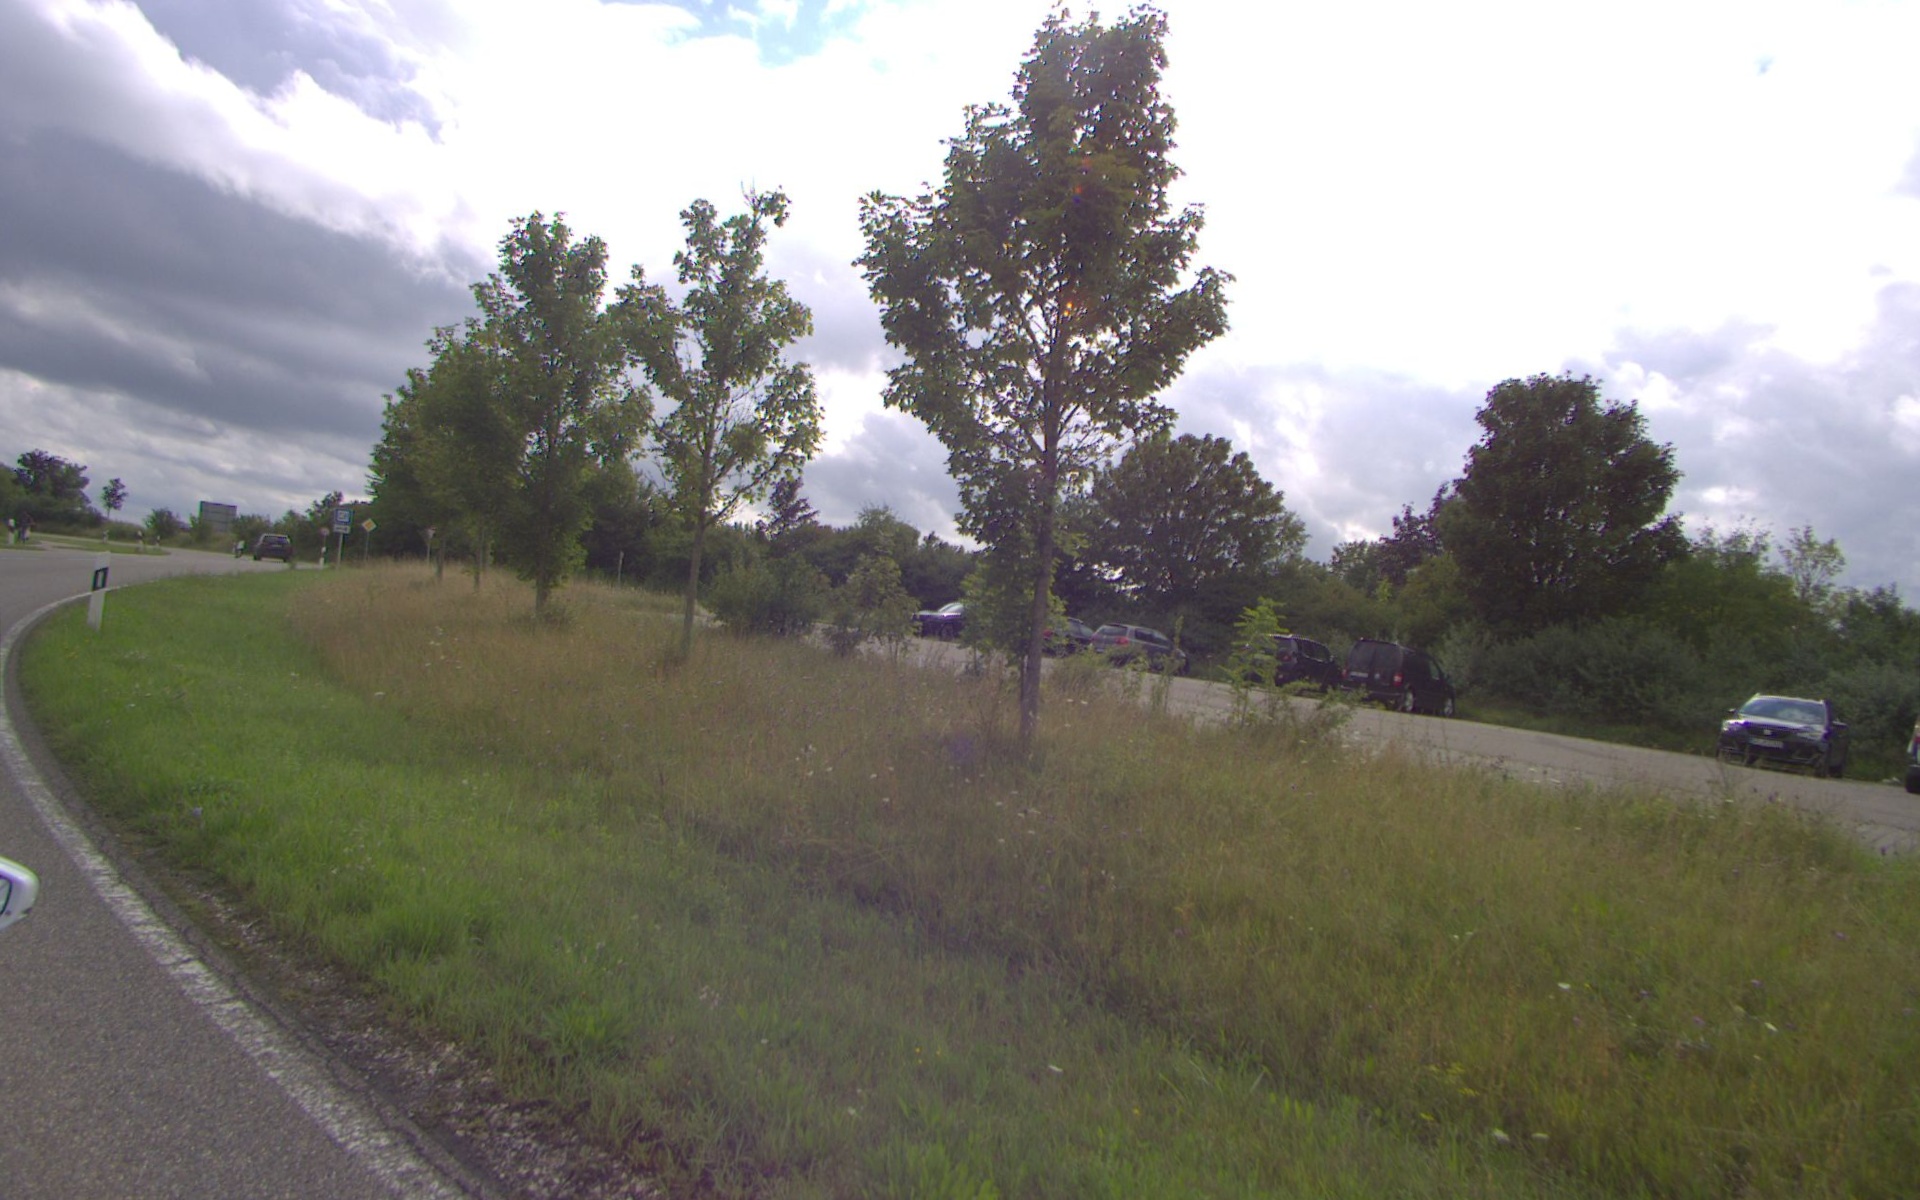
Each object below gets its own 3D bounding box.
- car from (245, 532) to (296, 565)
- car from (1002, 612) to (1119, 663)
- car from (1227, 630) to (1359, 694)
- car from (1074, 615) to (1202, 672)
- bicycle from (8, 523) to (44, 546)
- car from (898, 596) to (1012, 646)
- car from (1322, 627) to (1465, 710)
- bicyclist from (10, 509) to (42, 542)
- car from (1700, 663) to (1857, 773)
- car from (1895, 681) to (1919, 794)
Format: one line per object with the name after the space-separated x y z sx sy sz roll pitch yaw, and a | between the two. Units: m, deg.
-42.833 -3.192 62.489 1.901 1.686 3.951 8 -2 -43 | car
3.682 1.381 36.544 4.140 1.431 1.975 7 -1 -45 | car
9.785 1.824 29.427 3.975 1.515 1.975 7 -1 -45 | car
6.031 1.479 33.974 3.977 1.524 2.031 6 -1 -38 | car
-48.185 -3.351 51.911 0.629 1.045 2.178 6 0 -25 | bicycle
-0.146 0.895 41.007 4.465 1.600 1.975 7 -1 -45 | car
11.860 1.894 27.422 3.972 1.882 1.977 6 -1 -42 | car
-48.185 -3.834 51.904 0.822 1.585 1.050 6 0 -24 | bicyclist
16.821 2.405 20.609 3.970 1.882 1.725 6 -1 -41 | car
18.306 2.558 17.859 3.970 1.882 1.978 6 -1 -41 | car
